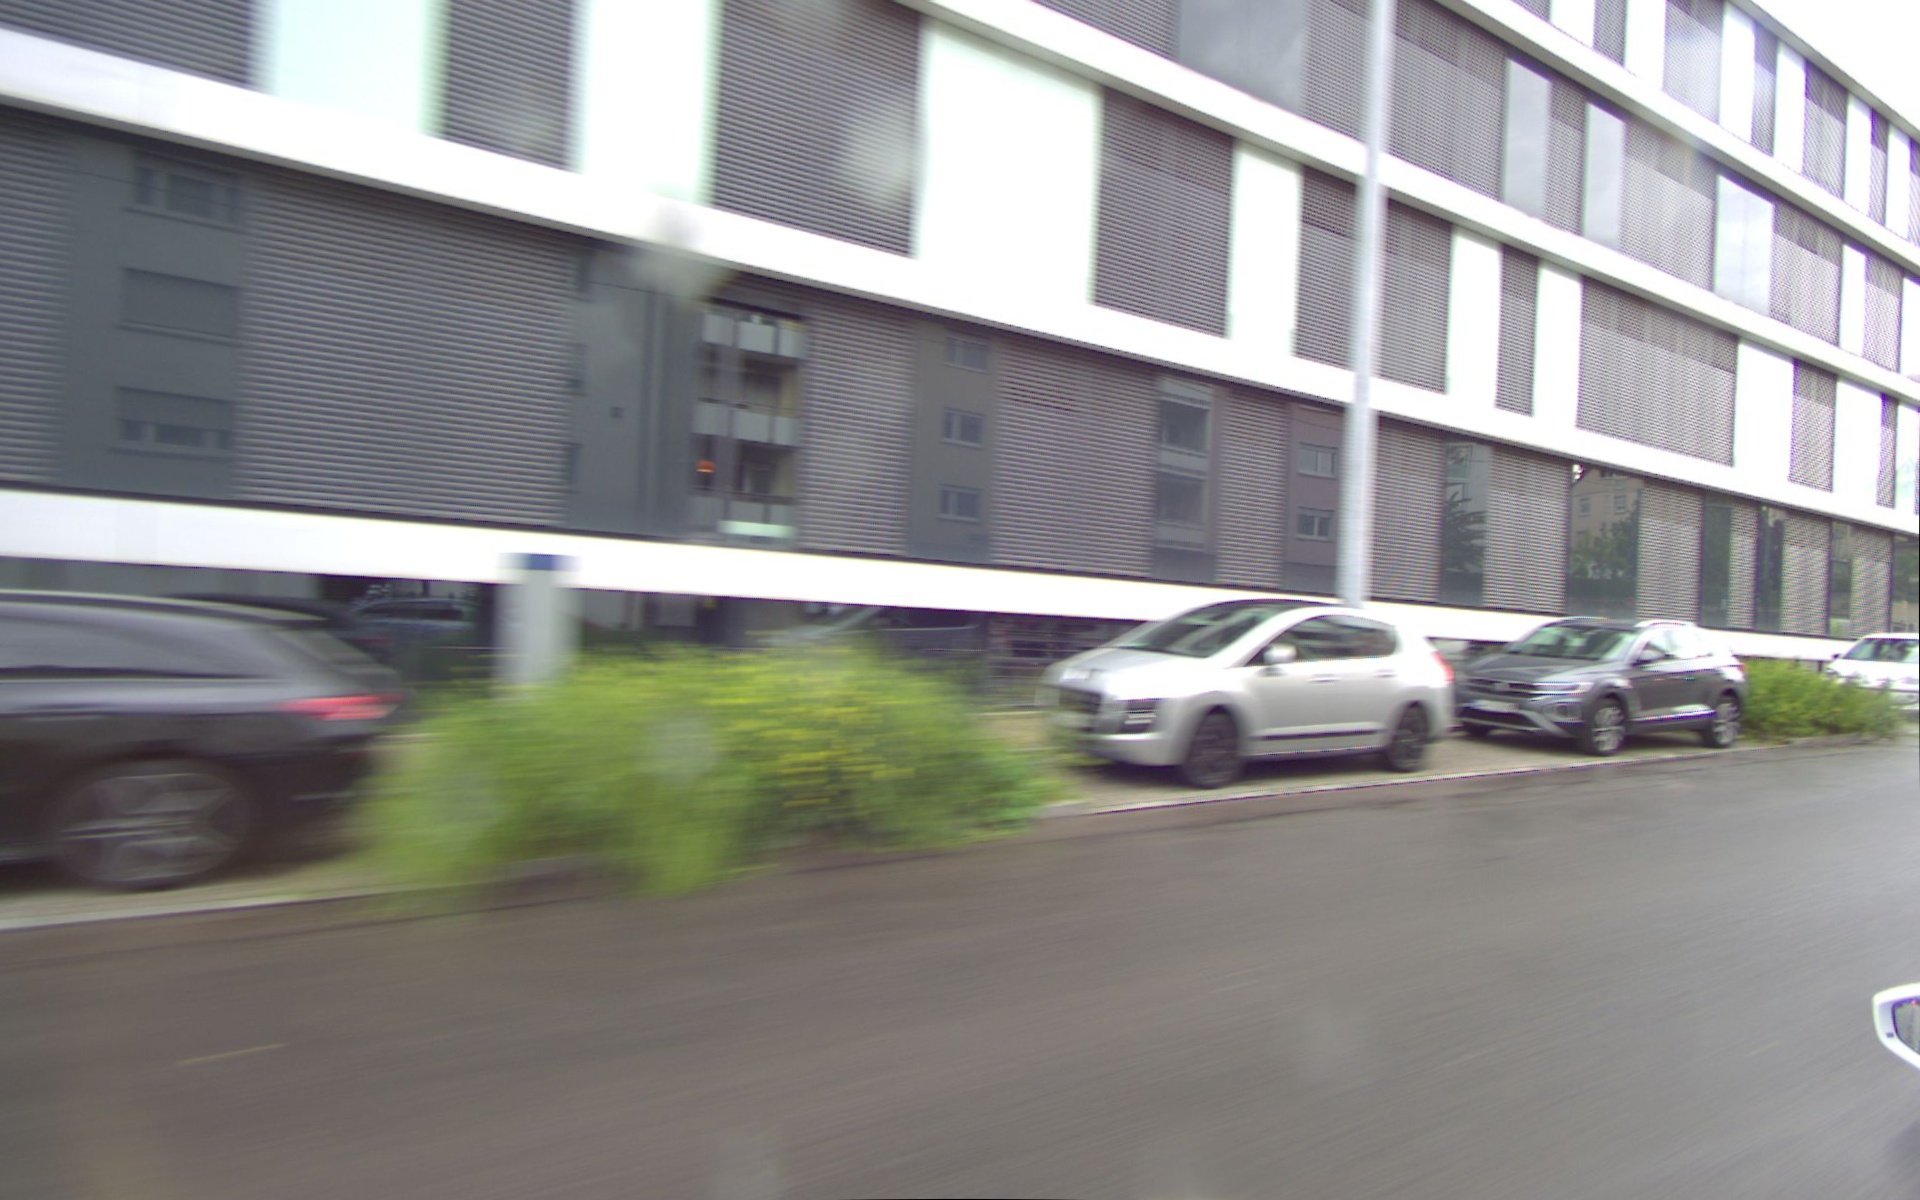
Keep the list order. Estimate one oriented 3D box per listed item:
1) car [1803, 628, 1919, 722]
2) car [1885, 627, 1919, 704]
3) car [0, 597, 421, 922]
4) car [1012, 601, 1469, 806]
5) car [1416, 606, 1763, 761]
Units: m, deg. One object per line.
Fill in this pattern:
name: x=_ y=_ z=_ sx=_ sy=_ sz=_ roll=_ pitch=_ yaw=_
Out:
car: x=17.226 y=1.321 z=18.303 sx=3.673 sy=1.479 sz=1.588 roll=2 pitch=1 yaw=-29
car: x=21.582 y=1.420 z=21.292 sx=4.151 sy=1.546 sz=1.856 roll=2 pitch=1 yaw=-33
car: x=-5.254 y=0.721 z=5.132 sx=4.341 sy=1.415 sz=1.828 roll=2 pitch=1 yaw=-30
car: x=2.783 y=0.866 z=9.723 sx=4.266 sy=1.555 sz=1.762 roll=2 pitch=1 yaw=-30
car: x=7.994 y=1.013 z=12.710 sx=4.180 sy=1.625 sz=1.794 roll=3 pitch=1 yaw=-27
